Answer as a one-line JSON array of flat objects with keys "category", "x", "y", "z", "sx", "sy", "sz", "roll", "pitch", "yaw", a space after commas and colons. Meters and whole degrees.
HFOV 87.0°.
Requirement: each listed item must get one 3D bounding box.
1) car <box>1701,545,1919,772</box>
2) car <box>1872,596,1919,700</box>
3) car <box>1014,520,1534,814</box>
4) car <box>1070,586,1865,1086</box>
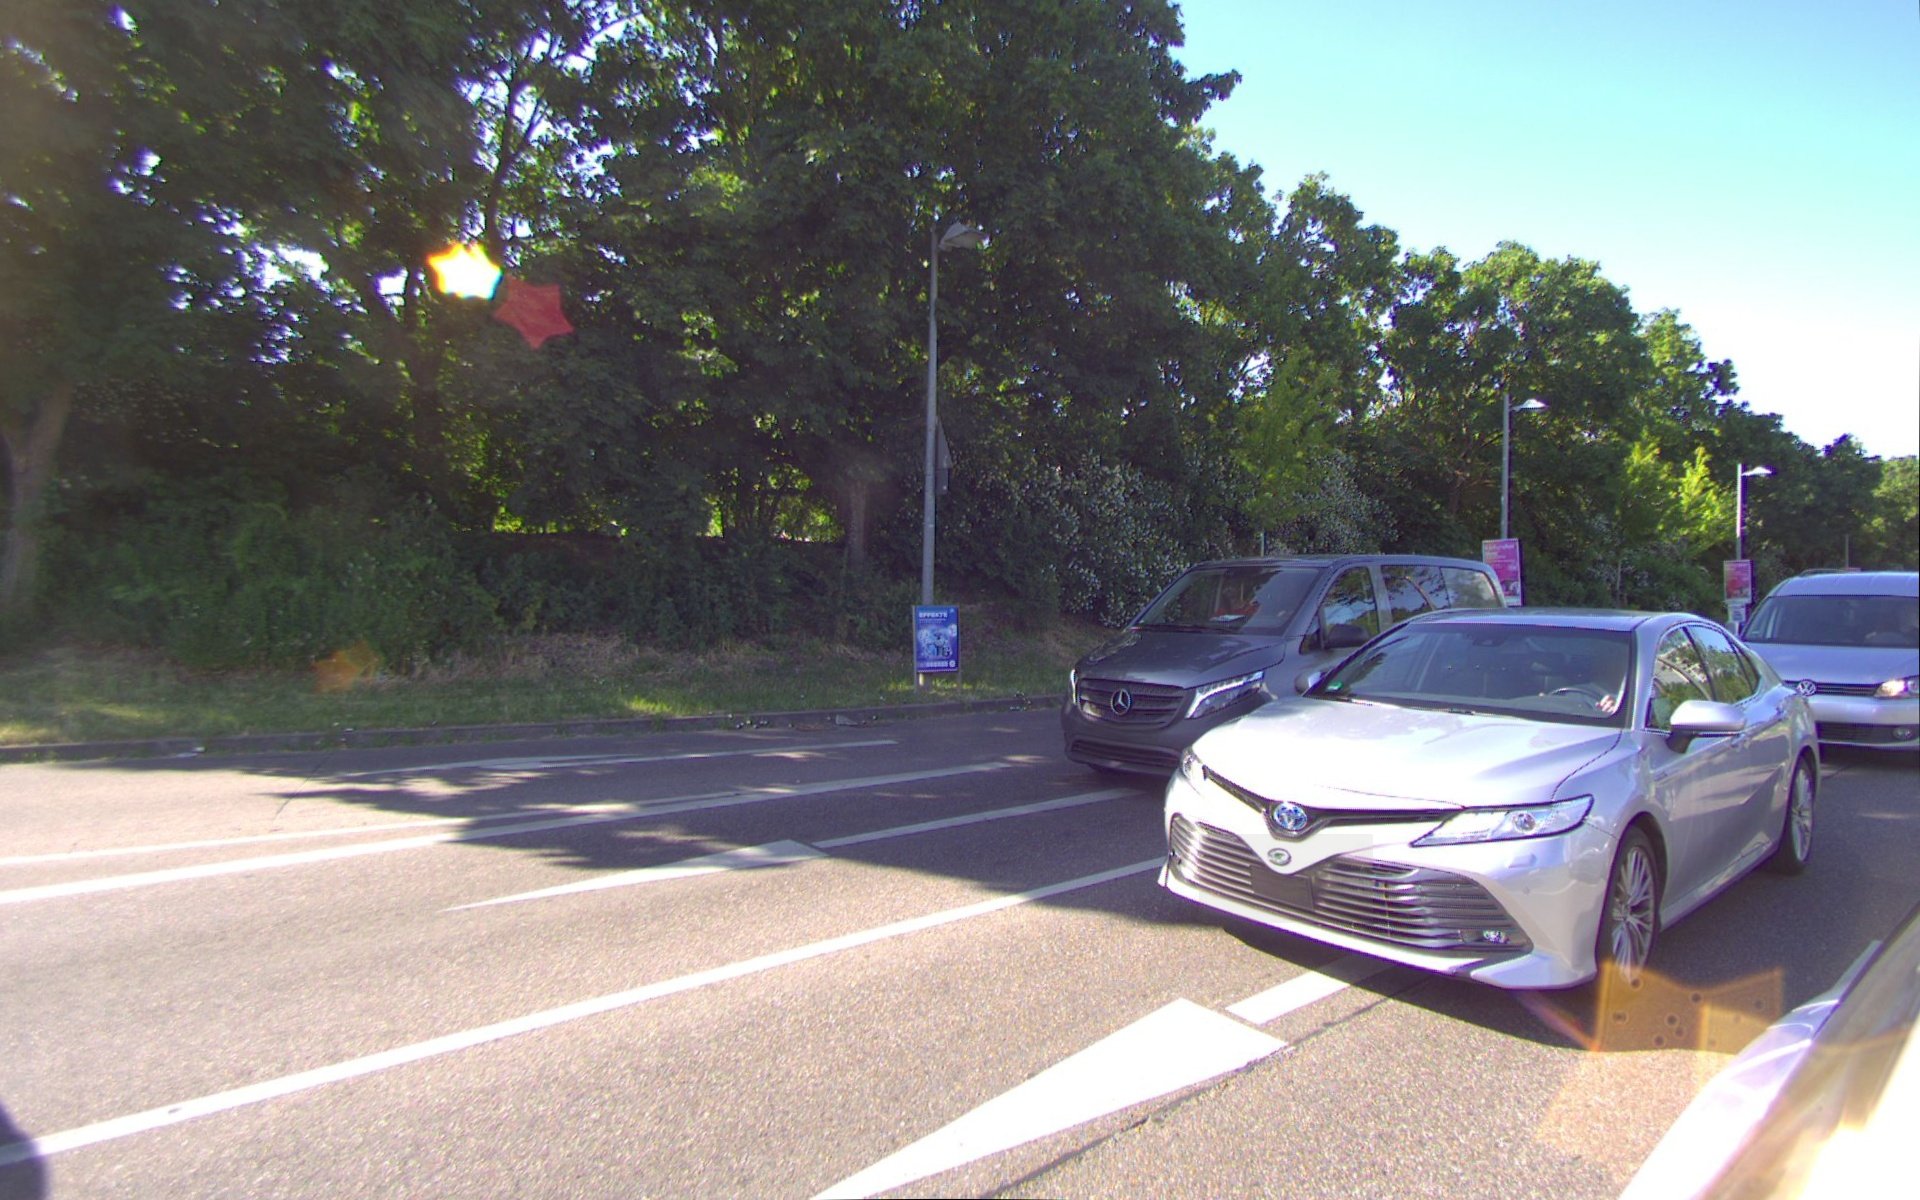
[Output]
[{"category": "car", "x": 9.508, "y": 0.471, "z": 10.546, "sx": 4.539, "sy": 1.928, "sz": 1.822, "roll": 0, "pitch": 1, "yaw": -40}, {"category": "car", "x": 14.978, "y": 0.675, "z": 14.870, "sx": 3.995, "sy": 1.421, "sz": 1.776, "roll": 0, "pitch": 1, "yaw": -40}, {"category": "car", "x": 3.009, "y": 0.402, "z": 8.988, "sx": 5.056, "sy": 1.917, "sz": 1.998, "roll": 0, "pitch": 1, "yaw": -40}, {"category": "car", "x": 2.955, "y": 0.695, "z": 5.355, "sx": 4.664, "sy": 1.477, "sz": 2.069, "roll": 0, "pitch": 2, "yaw": -40}]
